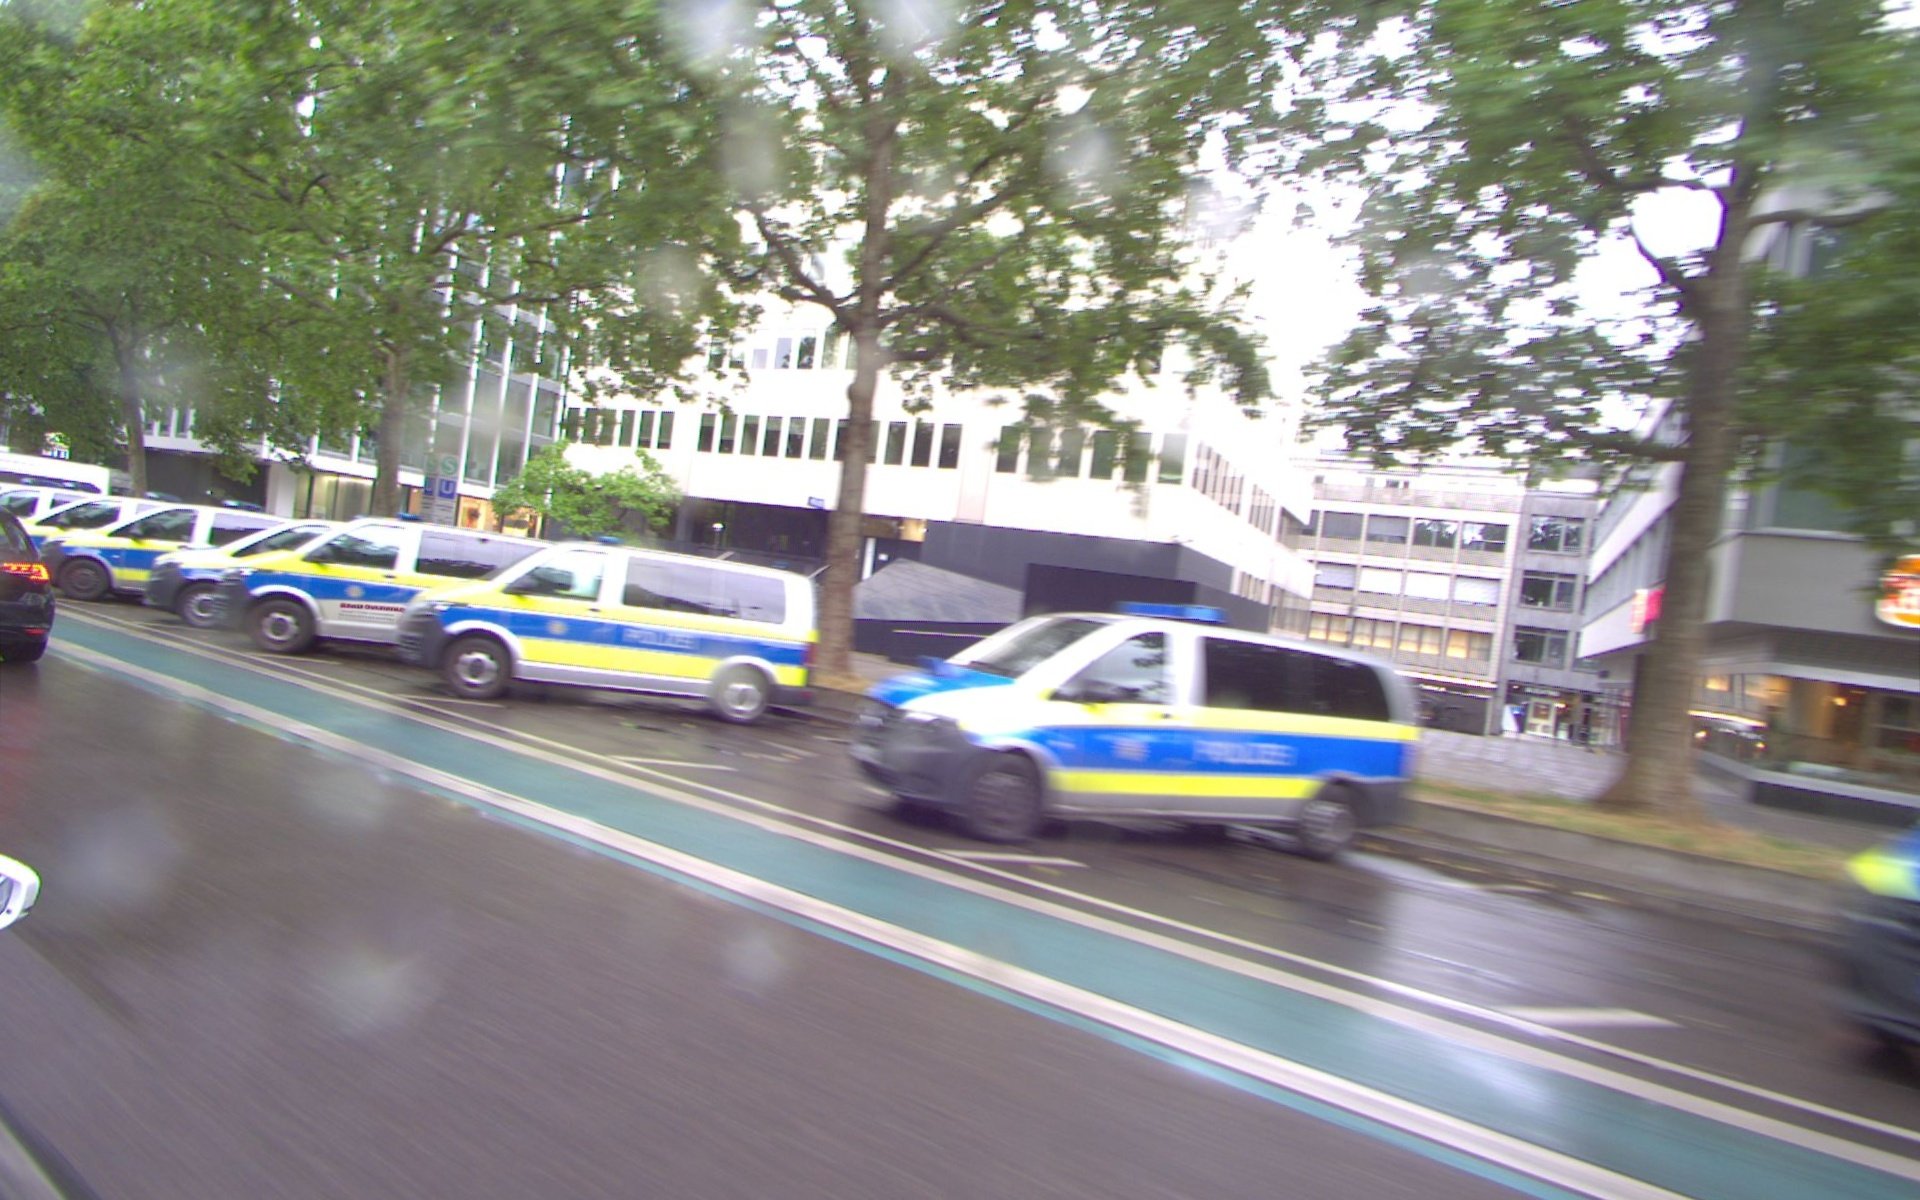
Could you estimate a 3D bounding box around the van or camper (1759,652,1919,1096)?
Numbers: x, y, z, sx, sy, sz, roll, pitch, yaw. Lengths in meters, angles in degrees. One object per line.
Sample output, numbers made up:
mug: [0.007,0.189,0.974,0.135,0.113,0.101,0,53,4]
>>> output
van or camper: [6.907,1.639,5.209,4.880,2.014,1.994,9,-2,-21]

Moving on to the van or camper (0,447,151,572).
van or camper: [-24.304,-2.458,25.190,5.737,2.712,1.989,8,0,-23]

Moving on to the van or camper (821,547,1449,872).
van or camper: [1.563,1.006,8.927,5.023,2.042,1.987,9,-2,-22]

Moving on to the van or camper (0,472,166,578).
van or camper: [-21.895,-1.856,23.307,4.951,2.037,1.990,8,-2,-23]

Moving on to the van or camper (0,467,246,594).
van or camper: [-18.708,-1.503,21.466,5.145,2.014,1.990,9,-2,-24]

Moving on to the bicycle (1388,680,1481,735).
bicycle: [13.494,3.040,28.636,2.248,1.186,0.688,7,-1,29]

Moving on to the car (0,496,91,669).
car: [-9.910,-0.369,9.213,3.934,1.430,1.767,7,0,32]

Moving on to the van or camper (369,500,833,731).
van or camper: [-4.223,0.264,12.344,4.790,2.021,1.859,8,-1,-22]

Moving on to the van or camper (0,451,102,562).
van or camper: [-27.101,-2.794,26.861,5.738,2.709,2.137,8,-1,-21]

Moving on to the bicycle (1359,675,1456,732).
bicycle: [12.262,2.817,27.579,2.249,1.187,0.687,7,0,32]

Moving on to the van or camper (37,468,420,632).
van or camper: [-12.880,-0.806,18.215,5.038,2.049,2.096,8,-1,-21]

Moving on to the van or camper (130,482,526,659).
van or camper: [-9.811,-0.386,16.196,4.964,2.019,1.988,8,-1,-26]

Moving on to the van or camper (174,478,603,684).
van or camper: [-7.666,-0.176,14.118,4.732,2.034,1.990,8,-1,-22]
